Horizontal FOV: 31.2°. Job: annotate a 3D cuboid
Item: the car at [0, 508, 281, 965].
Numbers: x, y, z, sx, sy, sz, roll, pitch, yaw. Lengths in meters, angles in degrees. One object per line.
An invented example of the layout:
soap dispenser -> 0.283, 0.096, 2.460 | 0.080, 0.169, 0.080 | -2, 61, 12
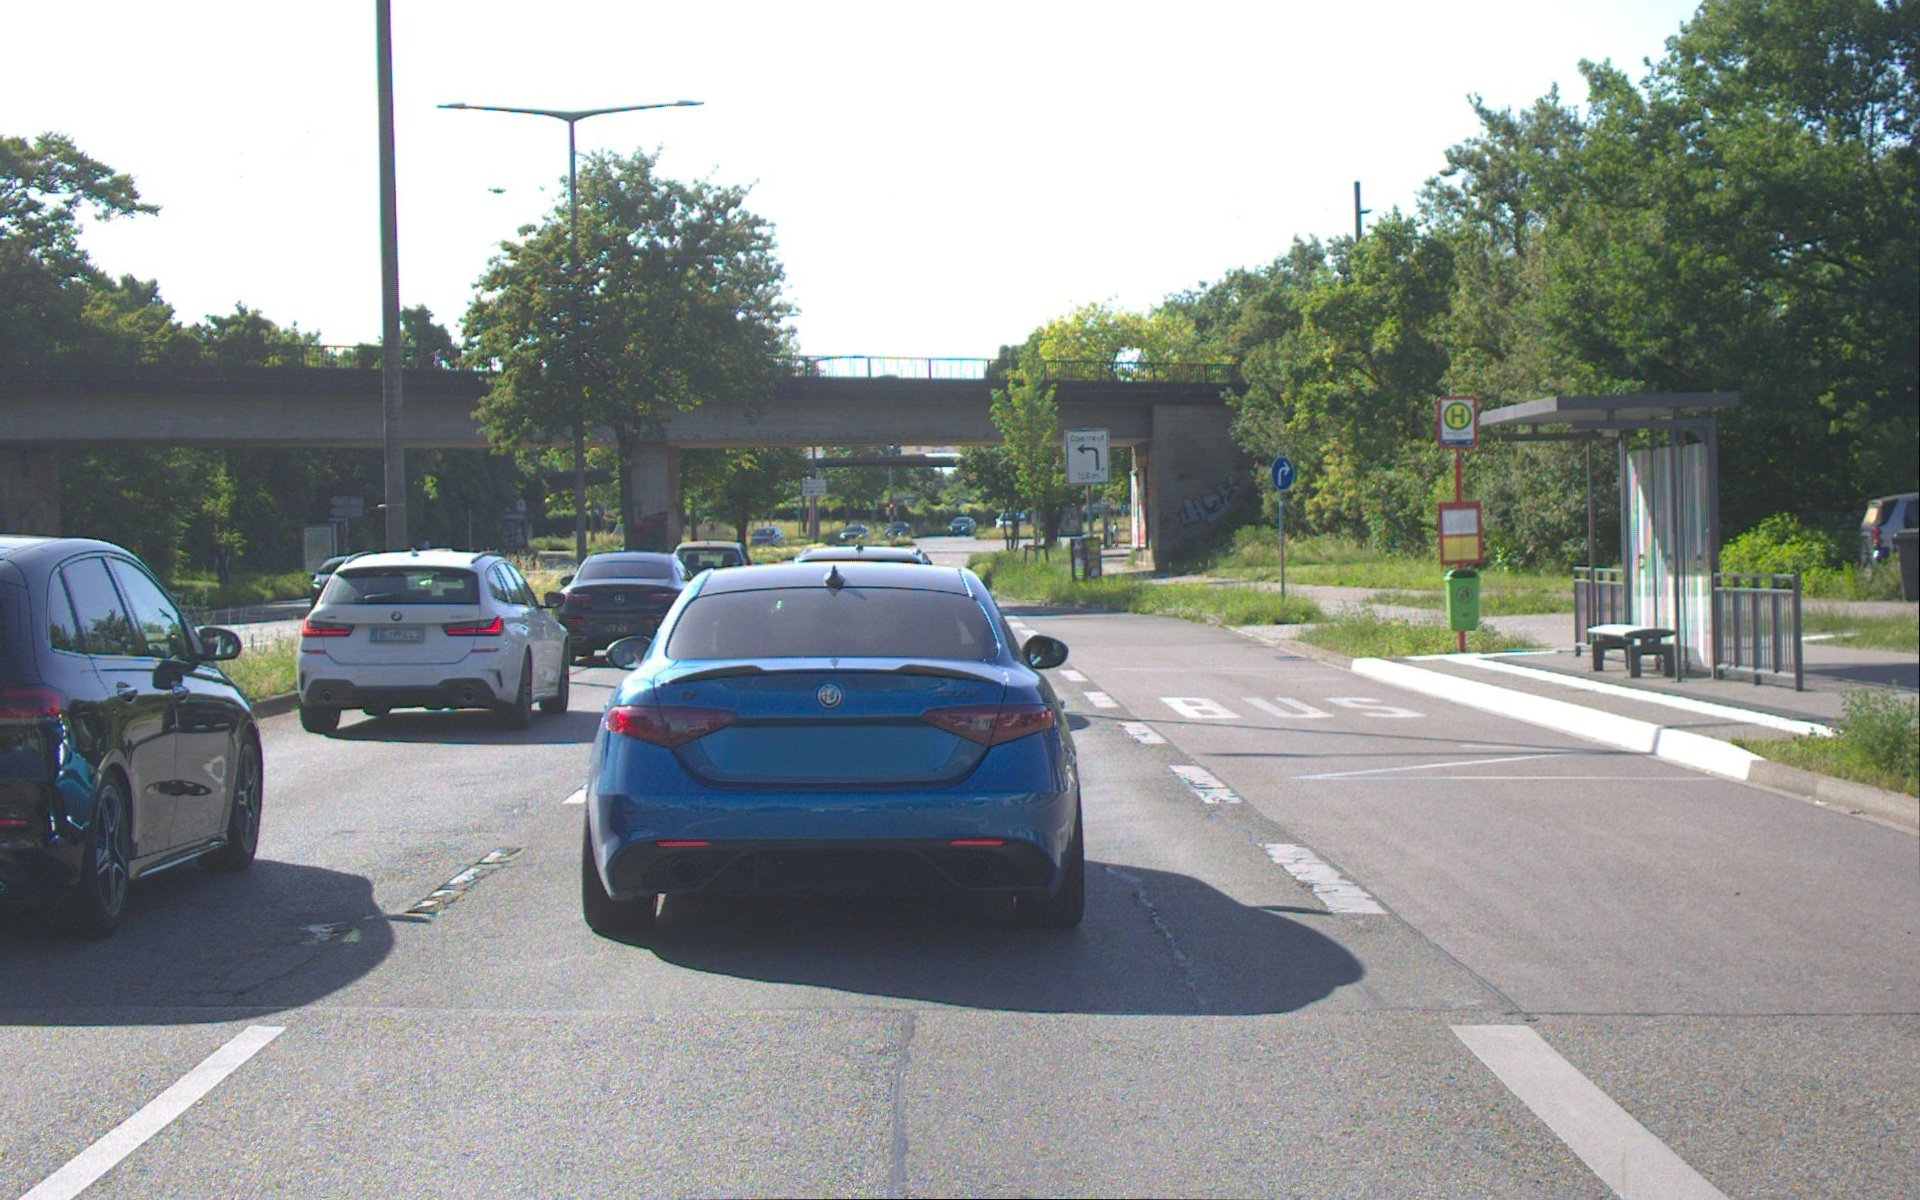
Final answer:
car -> -4.031, 0.444, 14.092 | 1.708, 1.592, 4.224 | 0, 1, -1

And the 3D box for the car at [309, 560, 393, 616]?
car -> -17.248, -0.357, 97.585 | 1.641, 1.446, 4.112 | -3, 1, -1

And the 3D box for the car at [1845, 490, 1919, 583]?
car -> 16.132, -1.014, 55.439 | 3.284, 1.481, 1.772 | 0, 1, 1

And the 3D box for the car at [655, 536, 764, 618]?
car -> -4.741, -0.467, 65.547 | 1.779, 1.449, 4.182 | -2, 1, -1

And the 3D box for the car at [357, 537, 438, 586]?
car -> -17.931, -1.245, 109.816 | 1.817, 1.430, 4.631 | -3, 1, -1

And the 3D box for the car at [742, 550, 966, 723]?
car -> -0.918, 0.279, 31.211 | 1.883, 1.449, 4.526 | 0, 1, -1

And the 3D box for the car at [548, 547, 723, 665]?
car -> -4.154, 0.038, 44.617 | 1.883, 1.449, 4.526 | 0, 1, -1

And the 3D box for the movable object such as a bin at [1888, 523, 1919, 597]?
movable object such as a bin -> 14.074, -0.594, 50.731 | 0.580, 1.071, 0.510 | -2, 2, -42

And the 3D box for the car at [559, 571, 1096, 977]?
car -> -0.493, 0.596, 14.205 | 1.883, 1.401, 4.224 | 0, 1, -1

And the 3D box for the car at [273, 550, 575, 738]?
car -> -4.394, 0.310, 28.826 | 1.883, 1.449, 4.526 | 0, 1, -1
